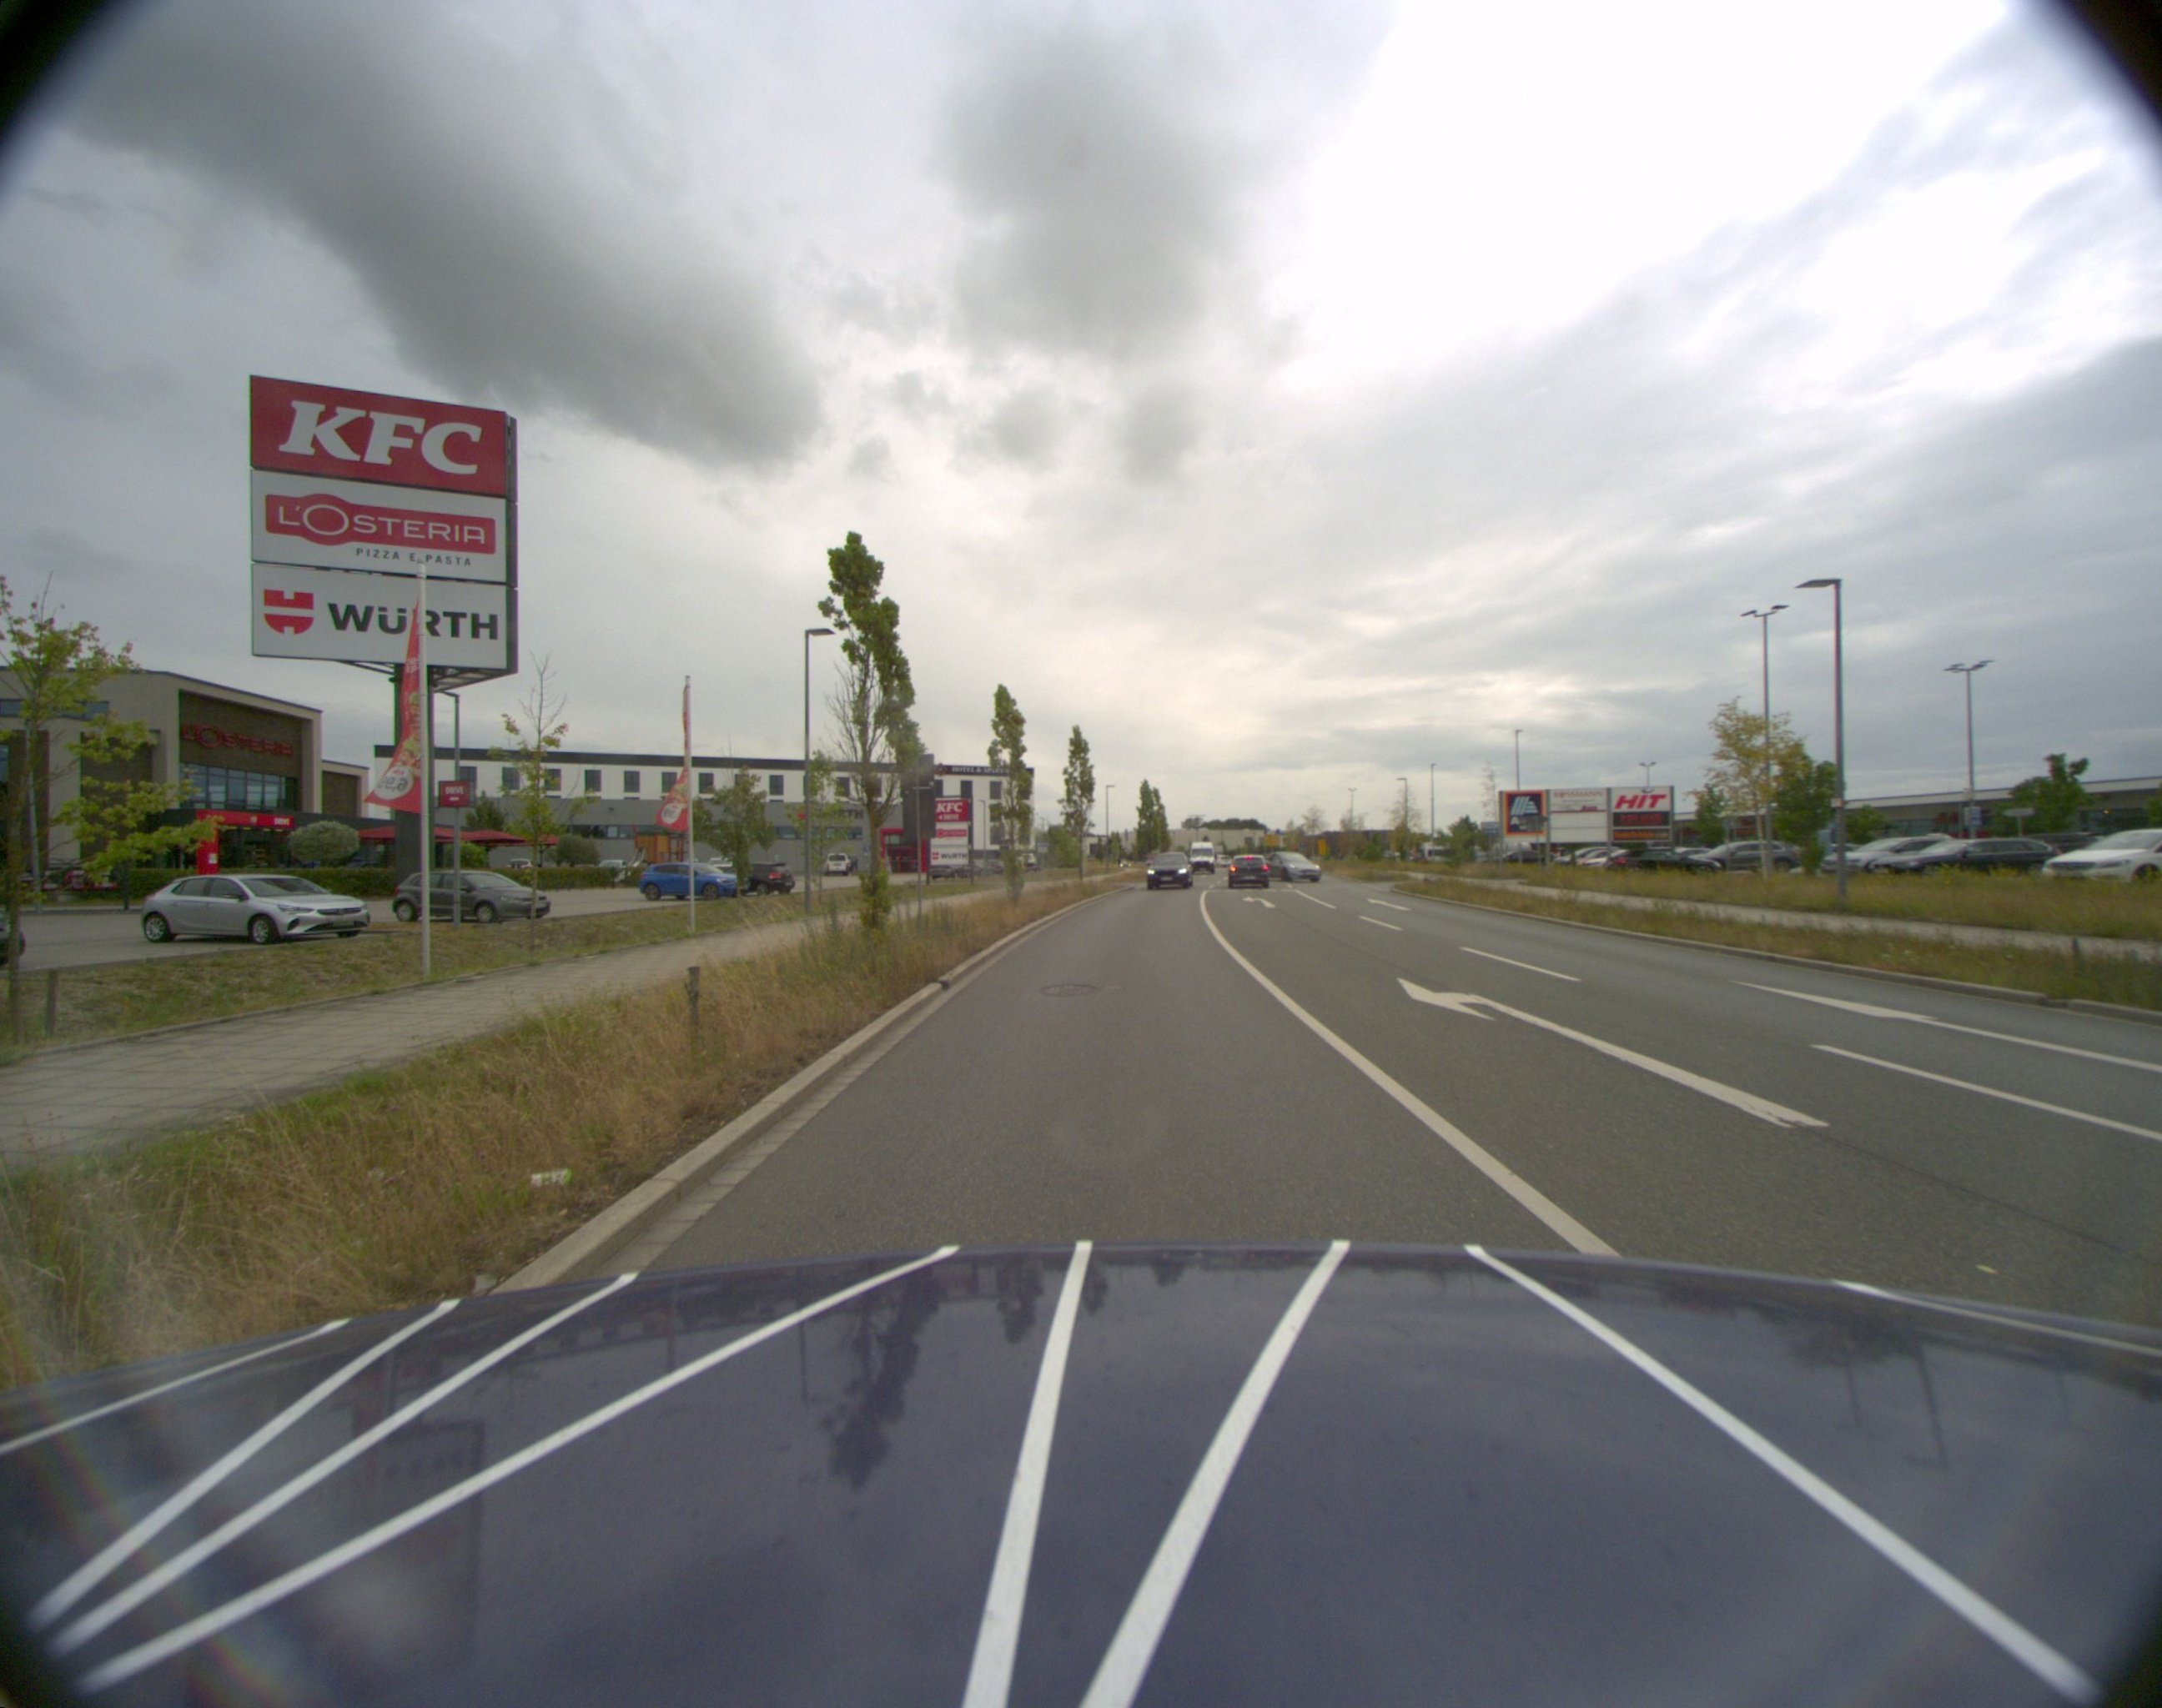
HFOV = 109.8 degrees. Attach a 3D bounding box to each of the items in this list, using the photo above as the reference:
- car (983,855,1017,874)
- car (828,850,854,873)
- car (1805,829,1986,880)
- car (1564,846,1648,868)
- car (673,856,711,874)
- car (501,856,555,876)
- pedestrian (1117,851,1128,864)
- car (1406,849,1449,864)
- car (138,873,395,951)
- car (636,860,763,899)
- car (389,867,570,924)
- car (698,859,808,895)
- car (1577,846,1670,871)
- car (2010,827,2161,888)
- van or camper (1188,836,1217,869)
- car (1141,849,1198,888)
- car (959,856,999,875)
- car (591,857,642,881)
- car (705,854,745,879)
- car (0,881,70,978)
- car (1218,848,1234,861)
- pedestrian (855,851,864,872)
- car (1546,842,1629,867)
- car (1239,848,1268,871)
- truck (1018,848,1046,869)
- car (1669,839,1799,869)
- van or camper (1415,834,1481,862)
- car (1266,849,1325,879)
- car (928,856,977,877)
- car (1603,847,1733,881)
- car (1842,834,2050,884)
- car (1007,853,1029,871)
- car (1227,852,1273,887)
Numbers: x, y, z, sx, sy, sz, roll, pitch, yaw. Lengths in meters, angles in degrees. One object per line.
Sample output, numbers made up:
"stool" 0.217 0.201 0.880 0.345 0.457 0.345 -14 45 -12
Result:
"car" -7.117 0.898 66.989 1.997 1.488 4.610 -1 1 7
"car" -21.670 0.630 68.477 2.002 1.975 4.628 -1 0 -20
"car" 29.957 0.017 28.098 4.250 1.713 2.029 -1 0 7
"car" 34.508 0.204 50.030 4.090 1.383 2.002 -1 0 13
"car" -33.352 0.899 65.202 2.082 1.510 4.569 0 0 -17
"car" -44.360 0.939 61.100 2.082 1.510 4.569 0 0 -17
"pedestrian" 5.787 0.475 105.654 1.071 1.847 1.197 1 2 34
"car" 38.623 0.290 84.787 3.952 1.624 2.086 -1 0 4
"car" -17.668 1.207 16.591 3.869 1.473 1.903 1 0 7
"car" -15.543 1.019 31.049 4.269 1.511 1.967 -1 0 11
"car" -16.822 1.149 21.334 3.765 1.485 1.891 -1 0 9
"car" -14.413 1.014 33.464 3.993 1.485 1.984 -1 0 13
"car" 33.918 0.275 47.616 4.326 1.448 2.012 -1 0 11
"car" 28.257 0.086 20.316 4.257 1.550 1.989 -1 0 2
"van or camper" 10.040 -0.116 62.939 2.262 2.601 5.701 -1 0 8
"car" 4.182 0.653 35.339 1.996 1.654 4.005 -2 0 15
"car" -8.118 0.881 60.767 1.867 1.428 4.883 -1 0 8
"car" -32.473 1.031 53.250 1.987 1.619 4.321 -1 0 -17
"car" -25.781 0.901 55.175 2.001 1.687 4.785 -1 0 -17
"car" -18.845 1.203 11.789 3.995 1.476 1.941 0 1 5
"car" 19.398 0.088 101.564 1.996 1.627 4.707 1 0 12
"pedestrian" -20.197 0.671 69.212 0.615 1.857 0.800 -1 0 -24
"car" 34.966 0.040 52.542 4.308 1.645 2.082 -1 0 10
"car" 12.052 0.361 53.225 1.883 1.460 4.196 -1 1 12
"truck" -5.731 0.530 90.174 2.231 2.312 8.217 -1 0 4
"car" 32.106 0.011 37.489 4.364 1.383 2.168 -1 0 13
"van or camper" 38.602 -0.619 80.039 5.866 2.784 2.243 -1 1 3
"car" 11.859 0.515 42.308 1.998 1.552 4.613 -1 0 1
"car" -9.270 0.854 55.226 1.965 1.451 4.836 -1 0 10
"car" 26.131 0.443 33.981 4.222 1.429 1.777 -1 1 16
"car" 28.917 0.166 25.575 4.249 1.504 2.048 -1 0 12
"car" -6.086 0.786 73.366 1.767 1.676 4.411 -1 0 0
"car" 7.472 0.650 33.951 1.832 1.412 4.249 -1 0 10
